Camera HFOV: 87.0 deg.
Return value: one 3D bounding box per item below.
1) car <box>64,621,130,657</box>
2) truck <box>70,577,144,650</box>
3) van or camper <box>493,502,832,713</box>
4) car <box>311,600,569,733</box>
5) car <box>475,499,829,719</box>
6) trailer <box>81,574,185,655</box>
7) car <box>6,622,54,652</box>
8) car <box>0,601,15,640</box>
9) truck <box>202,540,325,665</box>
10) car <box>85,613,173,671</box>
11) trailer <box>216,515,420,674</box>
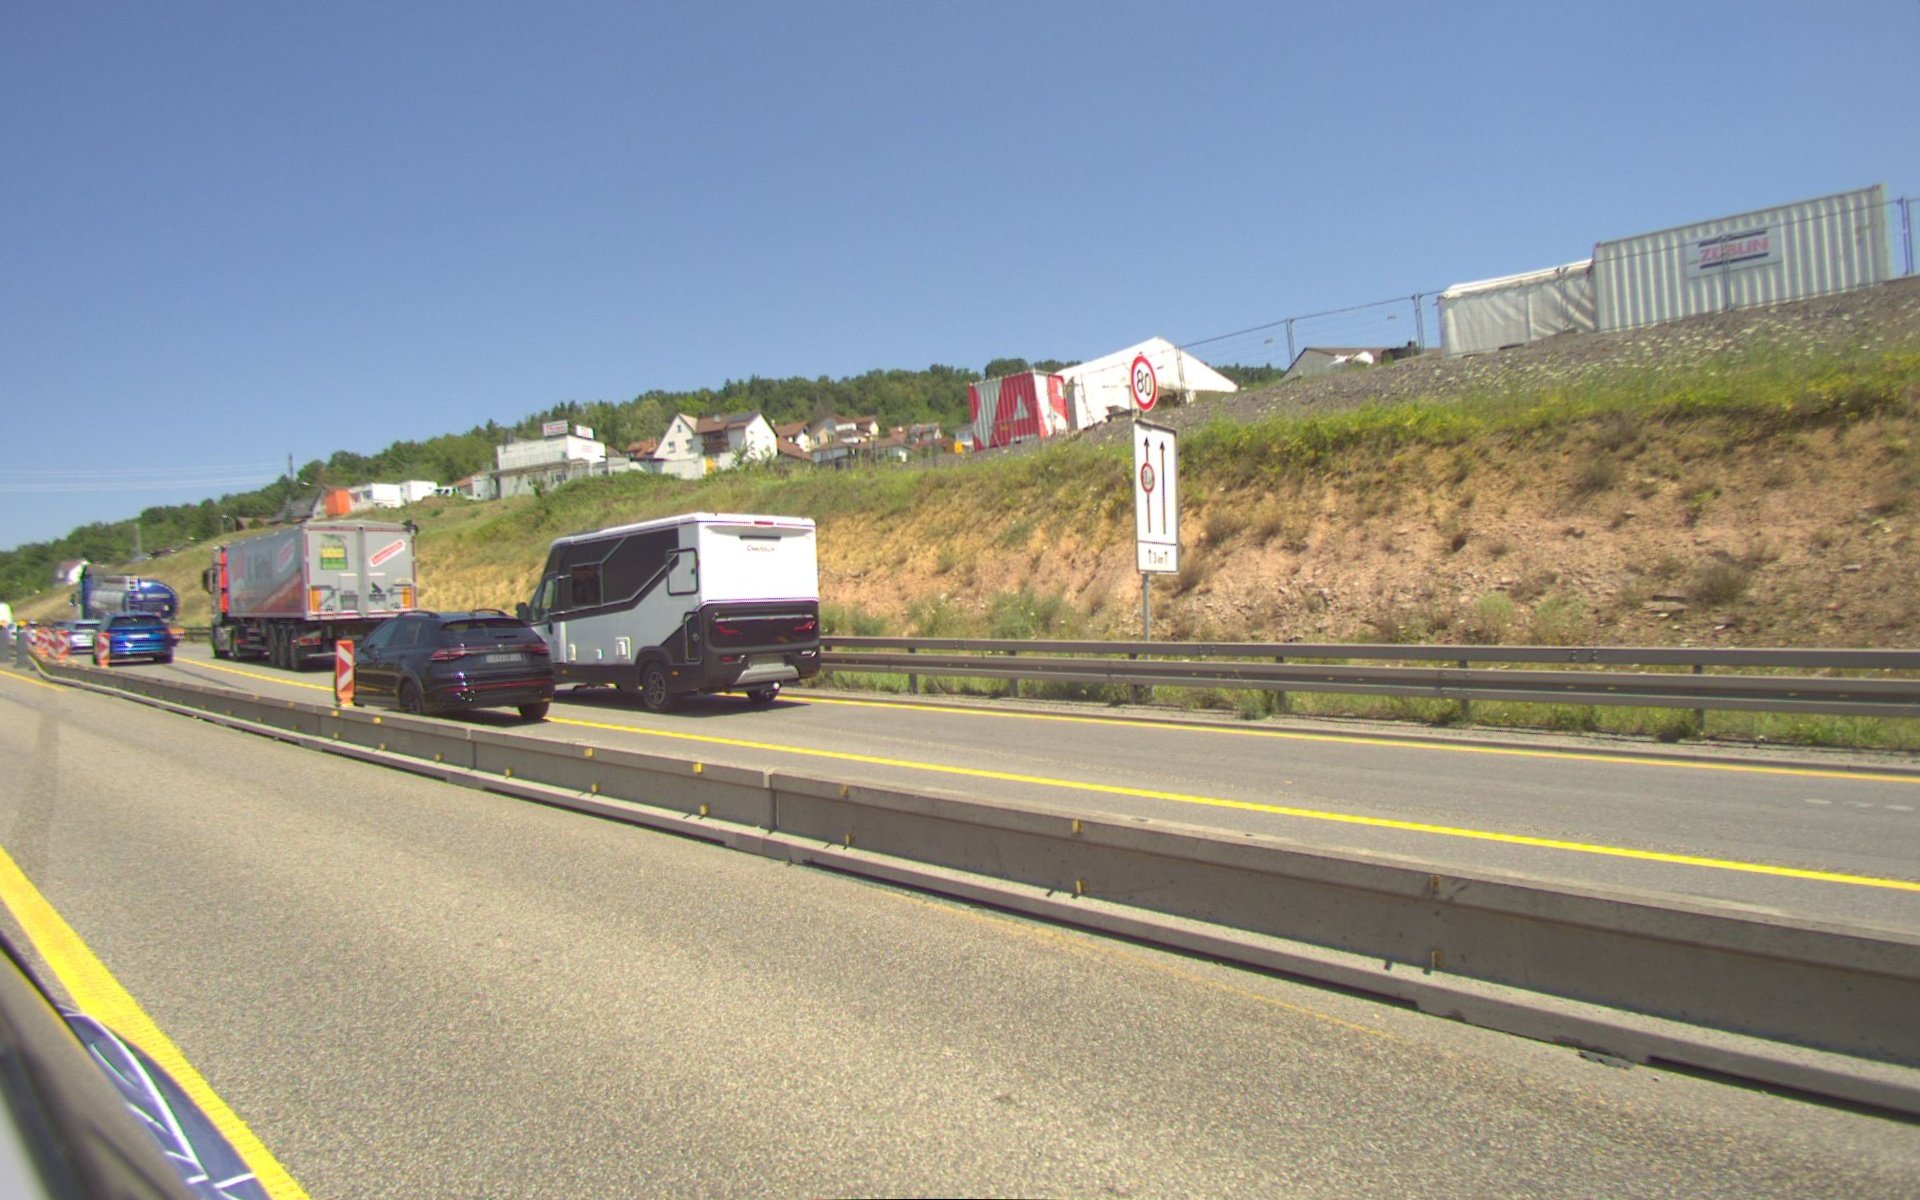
[{"bbox_3d":[-37.481,1.663,43.919,1.813,1.440,4.537,-1,0,-45],"label":"car"},{"bbox_3d":[-48.826,0.716,57.908,4.587,4.006,2.555,-1,0,42],"label":"truck"},{"bbox_3d":[-4.948,0.146,16.021,6.455,2.725,2.101,-2,0,43],"label":"van or camper"},{"bbox_3d":[-7.226,0.841,13.868,4.184,1.529,1.735,-2,-1,42],"label":"car"},{"bbox_3d":[-5.122,0.124,16.100,6.556,2.842,2.251,-1,0,41],"label":"car"},{"bbox_3d":[-44.066,0.731,53.743,11.270,3.899,2.572,-1,0,42],"label":"trailer"},{"bbox_3d":[-51.821,2.028,56.367,1.813,1.530,4.846,-1,0,-45],"label":"car"},{"bbox_3d":[-67.525,1.469,70.142,6.623,2.649,2.183,-2,0,40],"label":"car"},{"bbox_3d":[-23.577,0.069,34.180,2.555,3.857,5.385,-1,0,-44],"label":"truck"},{"bbox_3d":[-26.664,1.271,32.433,1.812,1.676,4.688,-1,0,-44],"label":"car"},{"bbox_3d":[-19.136,-0.107,29.636,2.625,3.844,11.829,-1,0,-44],"label":"trailer"}]
